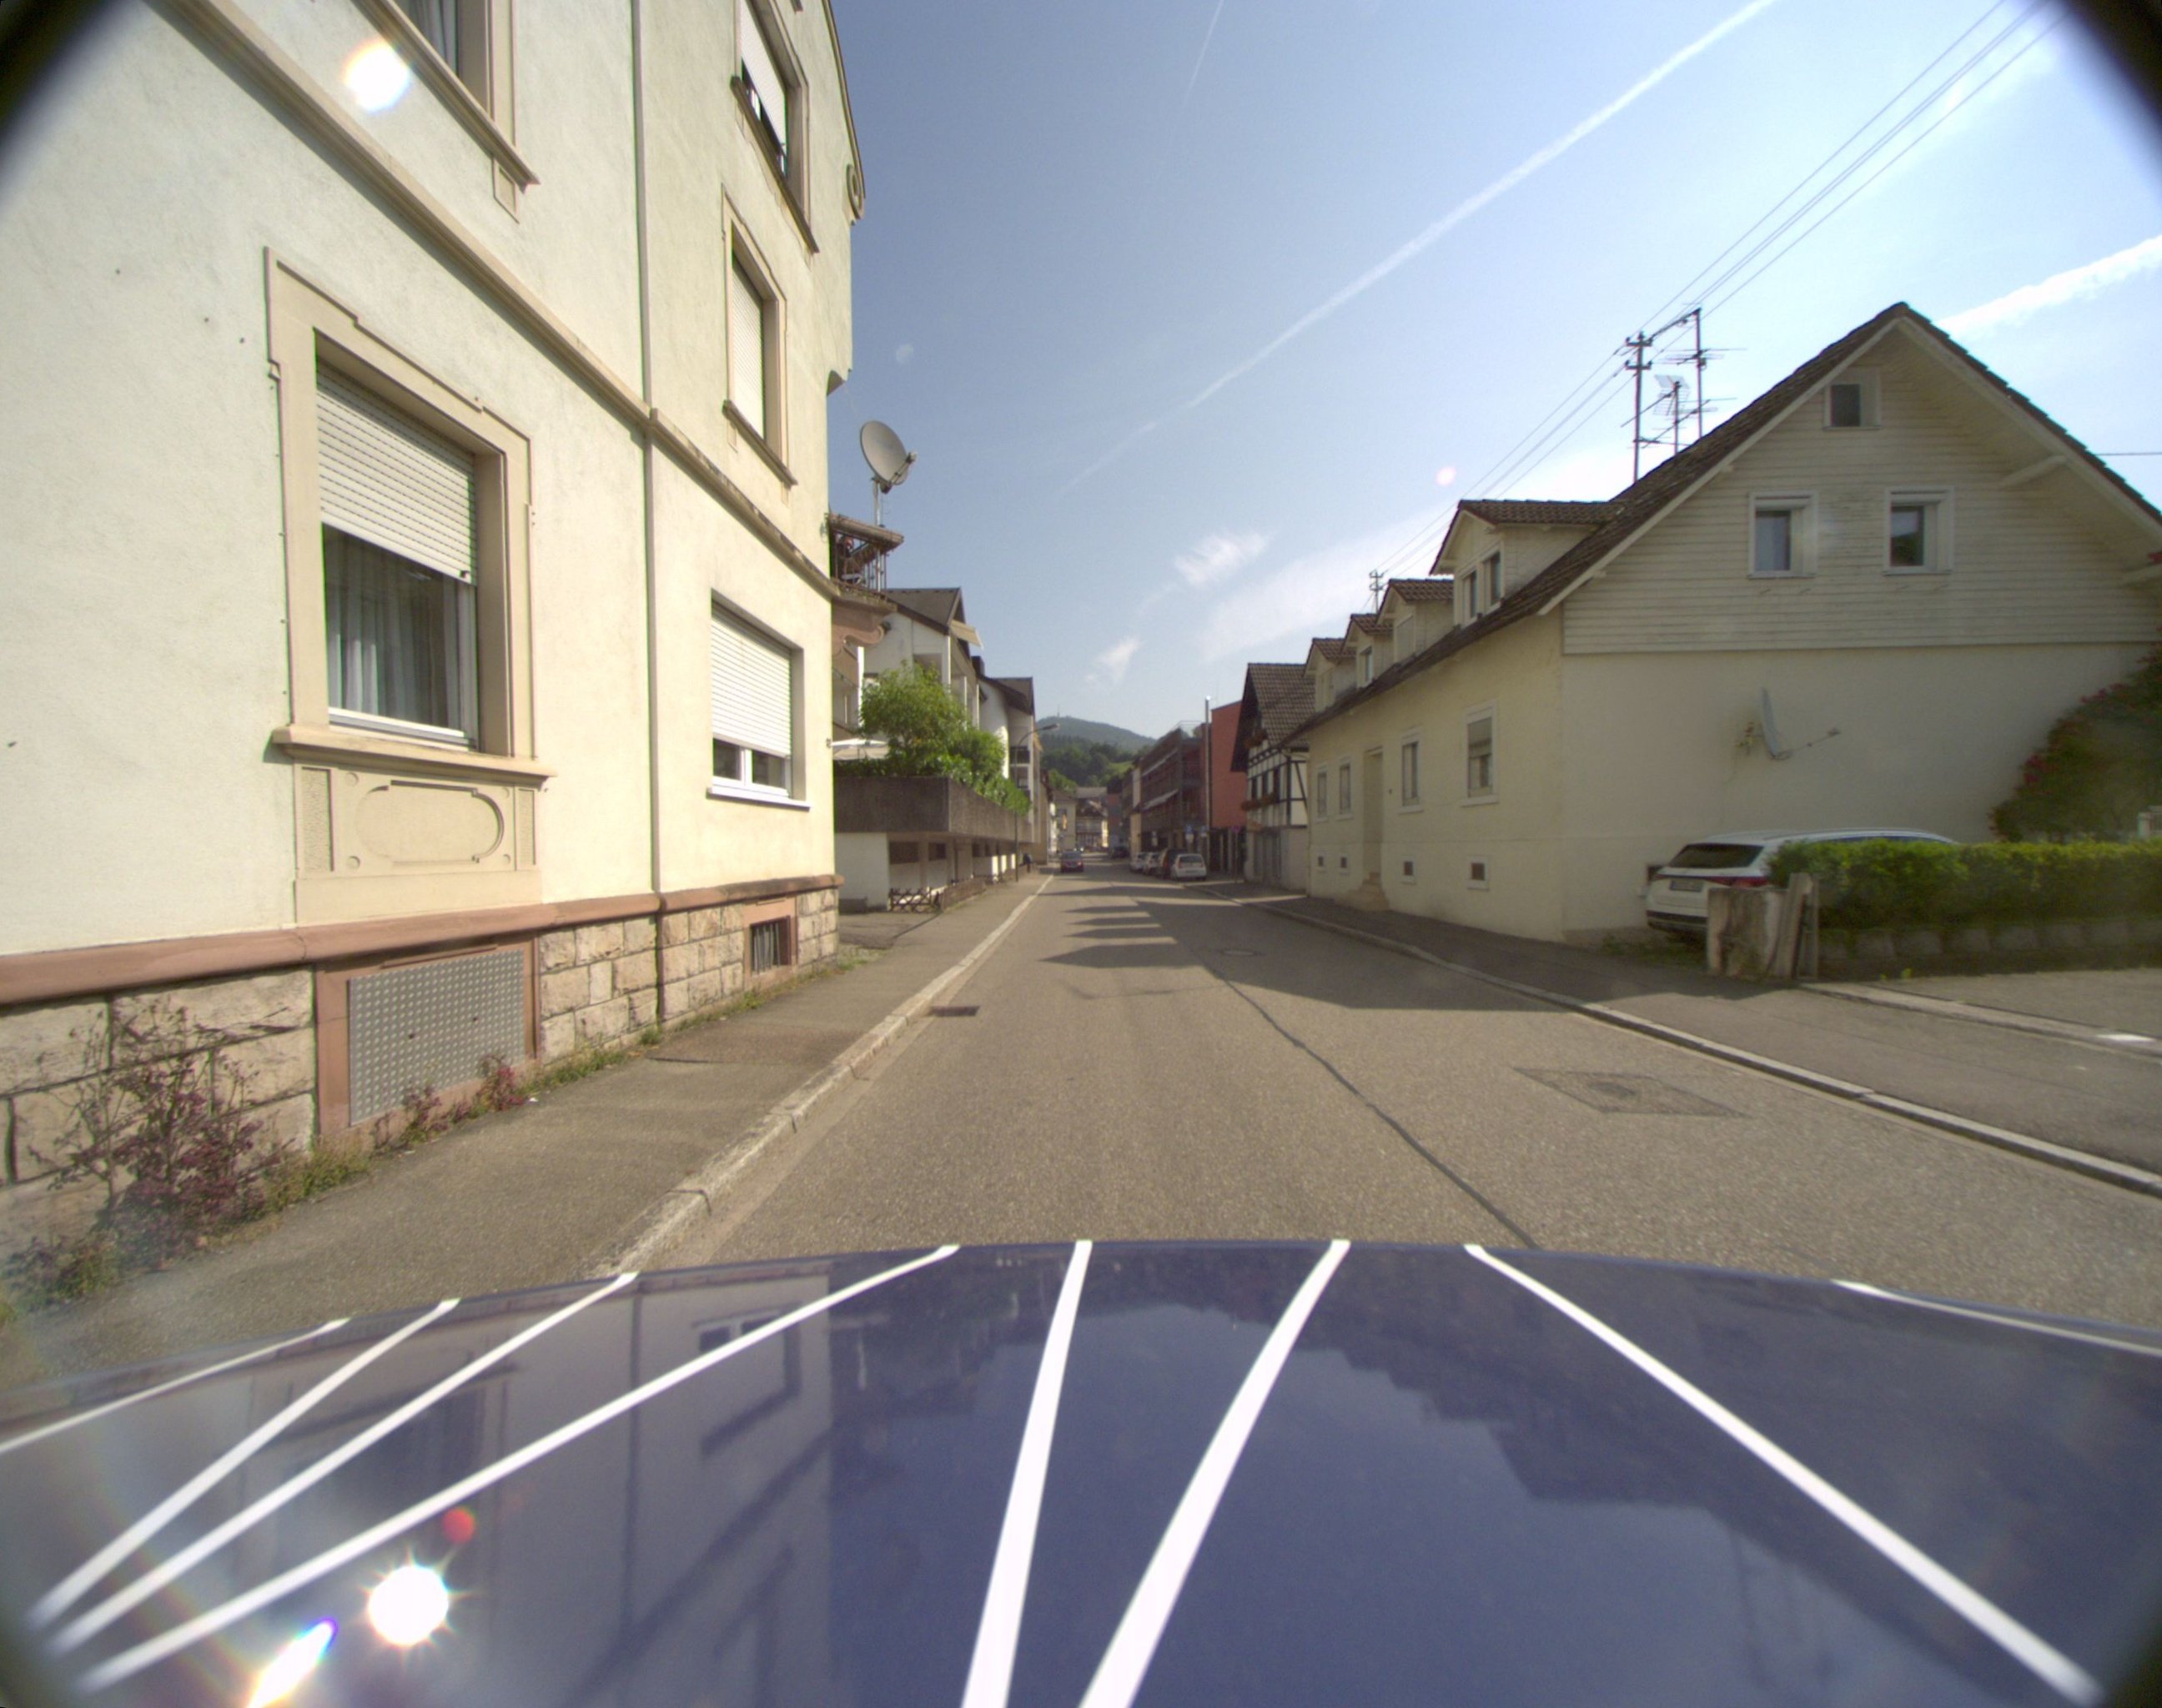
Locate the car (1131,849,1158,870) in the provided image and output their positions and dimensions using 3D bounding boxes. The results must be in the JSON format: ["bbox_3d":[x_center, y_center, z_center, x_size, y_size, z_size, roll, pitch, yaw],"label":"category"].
[{"bbox_3d":[4.933,0.439,59.377,1.678,1.546,3.763,-2,0,-2],"label":"car"}]

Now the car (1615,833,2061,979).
[{"bbox_3d":[9.621,0.600,9.908,3.998,1.584,1.907,-2,1,-3],"label":"car"}]

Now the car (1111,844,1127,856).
[{"bbox_3d":[5.003,-0.539,101.001,1.787,1.566,3.887,-4,1,-1],"label":"car"}]

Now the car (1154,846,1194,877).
[{"bbox_3d":[5.661,0.435,46.778,1.725,1.786,4.267,-1,1,-3],"label":"car"}]

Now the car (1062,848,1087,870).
[{"bbox_3d":[-0.519,0.369,59.097,1.822,1.652,3.998,0,1,-2],"label":"car"}]

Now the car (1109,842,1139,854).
[{"bbox_3d":[6.200,-0.829,109.573,4.000,1.674,1.833,-1,-1,-9],"label":"car"}]

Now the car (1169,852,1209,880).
[{"bbox_3d":[5.865,0.645,41.686,1.670,1.423,3.568,-2,0,0],"label":"car"}]

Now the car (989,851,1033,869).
[{"bbox_3d":[-6.303,0.512,69.039,3.838,1.470,1.700,-2,0,-3],"label":"car"}]

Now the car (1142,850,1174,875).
[{"bbox_3d":[5.307,0.557,52.640,1.679,1.580,3.948,-1,0,-2],"label":"car"}]

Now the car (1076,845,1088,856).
[{"bbox_3d":[0.242,-0.774,146.049,1.998,2.002,4.000,-2,1,2],"label":"car"}]
